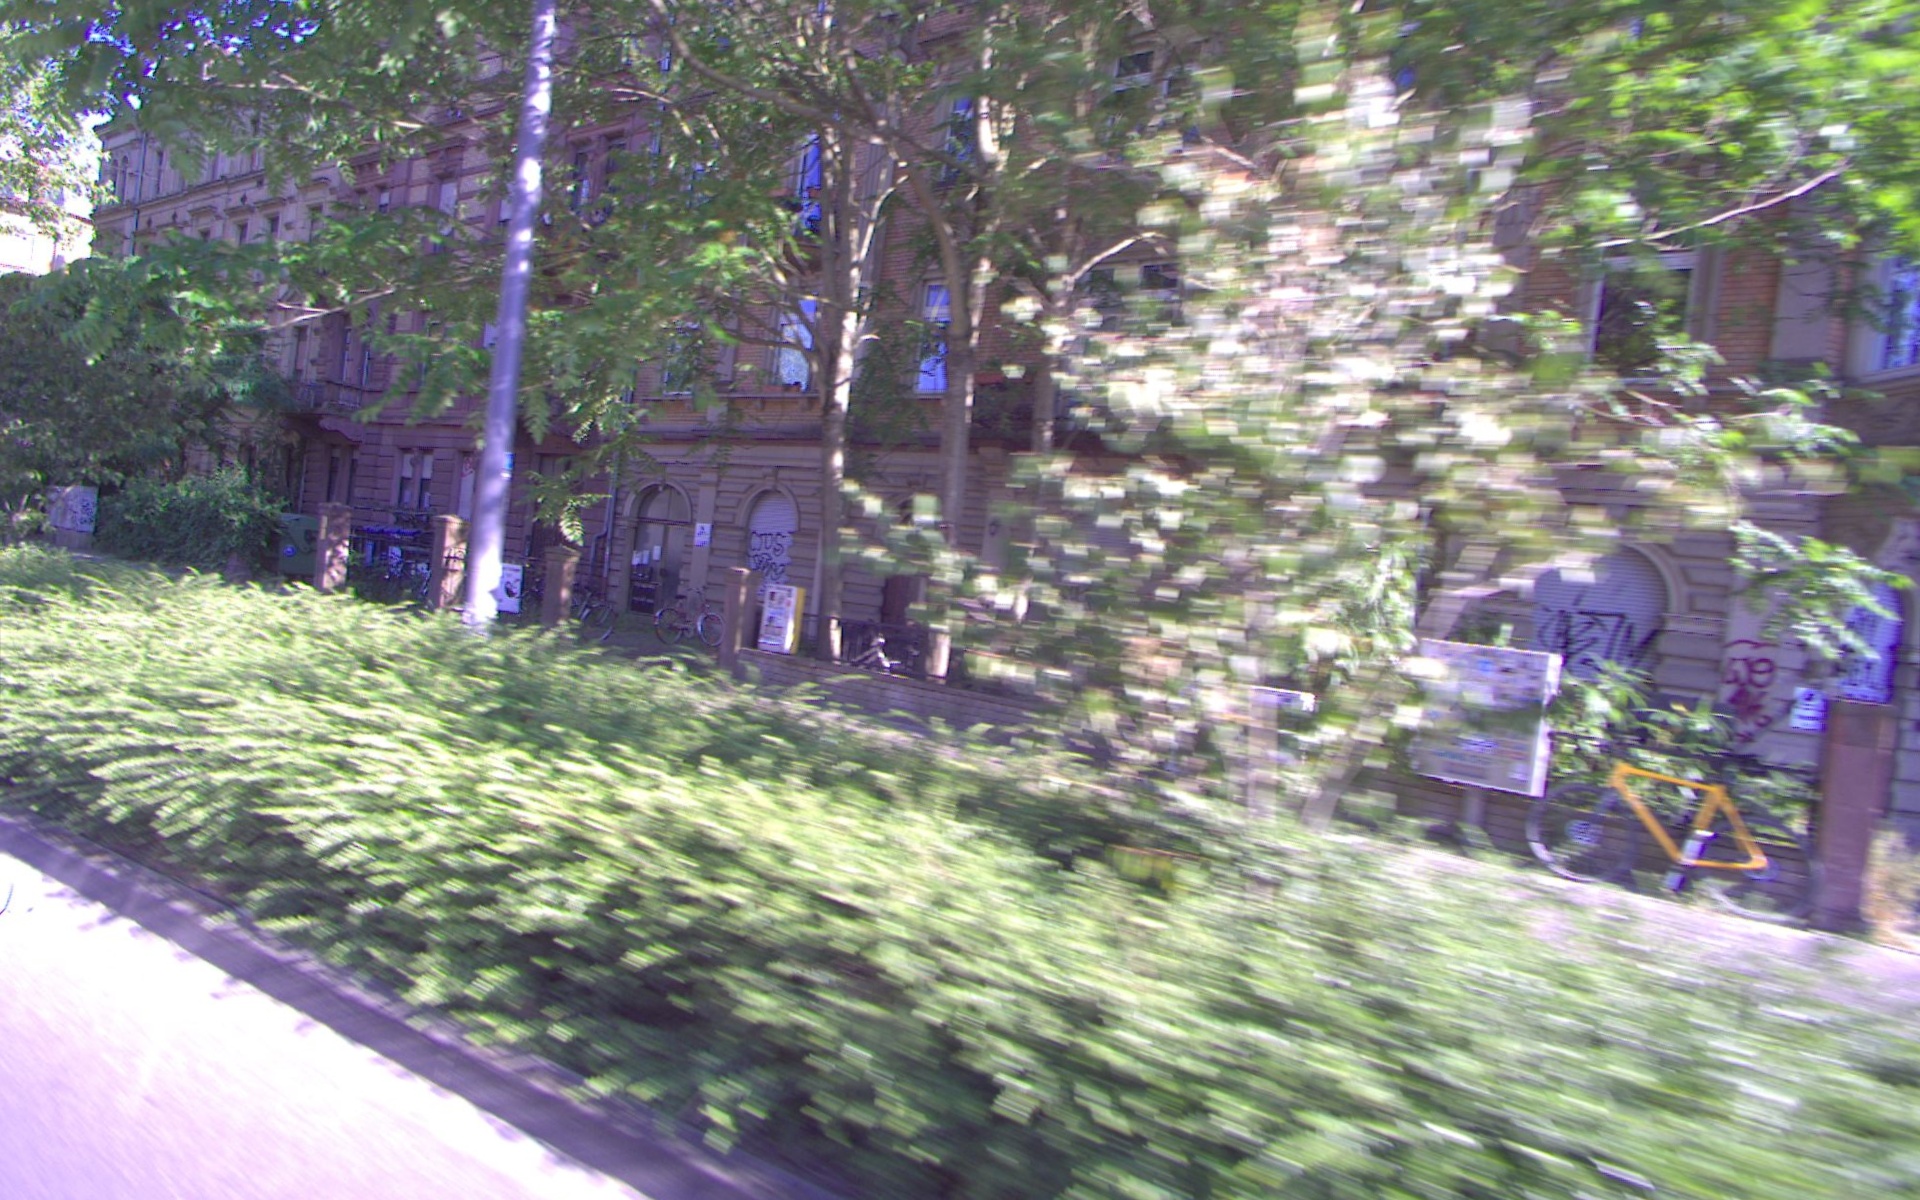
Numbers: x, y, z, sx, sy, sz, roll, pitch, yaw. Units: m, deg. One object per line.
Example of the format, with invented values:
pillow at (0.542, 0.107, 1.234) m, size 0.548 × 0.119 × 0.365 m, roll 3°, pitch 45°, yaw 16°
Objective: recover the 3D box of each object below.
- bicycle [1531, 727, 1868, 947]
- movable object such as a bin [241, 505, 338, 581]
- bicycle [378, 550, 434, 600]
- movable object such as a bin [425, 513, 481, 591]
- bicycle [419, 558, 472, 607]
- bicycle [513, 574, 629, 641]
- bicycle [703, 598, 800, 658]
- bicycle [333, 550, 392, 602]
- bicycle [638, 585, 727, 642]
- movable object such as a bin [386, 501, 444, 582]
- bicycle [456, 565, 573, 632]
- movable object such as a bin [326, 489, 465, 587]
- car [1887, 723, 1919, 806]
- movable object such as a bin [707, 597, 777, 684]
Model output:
bicycle at (5.035, 1.581, 6.999) m, size 1.693 × 1.001 × 0.525 m, roll 11°, pitch 4°, yaw 31°
movable object such as a bin at (-14.300, -1.203, 21.472) m, size 1.236 × 1.400 × 1.232 m, roll 8°, pitch 2°, yaw 32°
bicycle at (-10.528, -0.466, 19.121) m, size 0.369 × 0.865 × 0.769 m, roll 11°, pitch 3°, yaw 30°
movable object such as a bin at (-12.123, -1.138, 24.039) m, size 0.730 × 1.715 × 0.755 m, roll 11°, pitch 4°, yaw 31°
bicycle at (-10.108, -0.331, 19.784) m, size 0.369 × 0.865 × 0.769 m, roll 11°, pitch 3°, yaw 30°
bicycle at (-6.251, 0.142, 16.239) m, size 0.530 × 0.937 × 1.653 m, roll 11°, pitch 3°, yaw 34°
bicycle at (-3.677, 0.520, 17.832) m, size 0.436 × 0.937 × 1.729 m, roll 11°, pitch 3°, yaw 36°
bicycle at (-10.937, -0.437, 18.429) m, size 0.369 × 0.865 × 0.769 m, roll 11°, pitch 3°, yaw 30°
bicycle at (-5.188, 0.272, 18.893) m, size 0.436 × 0.937 × 1.595 m, roll 11°, pitch 3°, yaw 36°
movable object such as a bin at (-12.559, -1.331, 23.198) m, size 0.730 × 1.715 × 0.755 m, roll 11°, pitch 4°, yaw 31°
bicycle at (-7.319, -0.013, 16.608) m, size 0.530 × 0.937 × 1.653 m, roll 11°, pitch 3°, yaw 34°
movable object such as a bin at (-13.963, -1.545, 24.865) m, size 3.177 × 2.022 × 1.546 m, roll 8°, pitch 2°, yaw 32°
car at (19.967, 3.455, 19.700) m, size 1.763 × 1.527 × 4.162 m, roll 11°, pitch 3°, yaw 33°
movable object such as a bin at (-2.870, 0.515, 13.246) m, size 0.641 × 1.075 × 0.595 m, roll 5°, pitch 4°, yaw 33°
